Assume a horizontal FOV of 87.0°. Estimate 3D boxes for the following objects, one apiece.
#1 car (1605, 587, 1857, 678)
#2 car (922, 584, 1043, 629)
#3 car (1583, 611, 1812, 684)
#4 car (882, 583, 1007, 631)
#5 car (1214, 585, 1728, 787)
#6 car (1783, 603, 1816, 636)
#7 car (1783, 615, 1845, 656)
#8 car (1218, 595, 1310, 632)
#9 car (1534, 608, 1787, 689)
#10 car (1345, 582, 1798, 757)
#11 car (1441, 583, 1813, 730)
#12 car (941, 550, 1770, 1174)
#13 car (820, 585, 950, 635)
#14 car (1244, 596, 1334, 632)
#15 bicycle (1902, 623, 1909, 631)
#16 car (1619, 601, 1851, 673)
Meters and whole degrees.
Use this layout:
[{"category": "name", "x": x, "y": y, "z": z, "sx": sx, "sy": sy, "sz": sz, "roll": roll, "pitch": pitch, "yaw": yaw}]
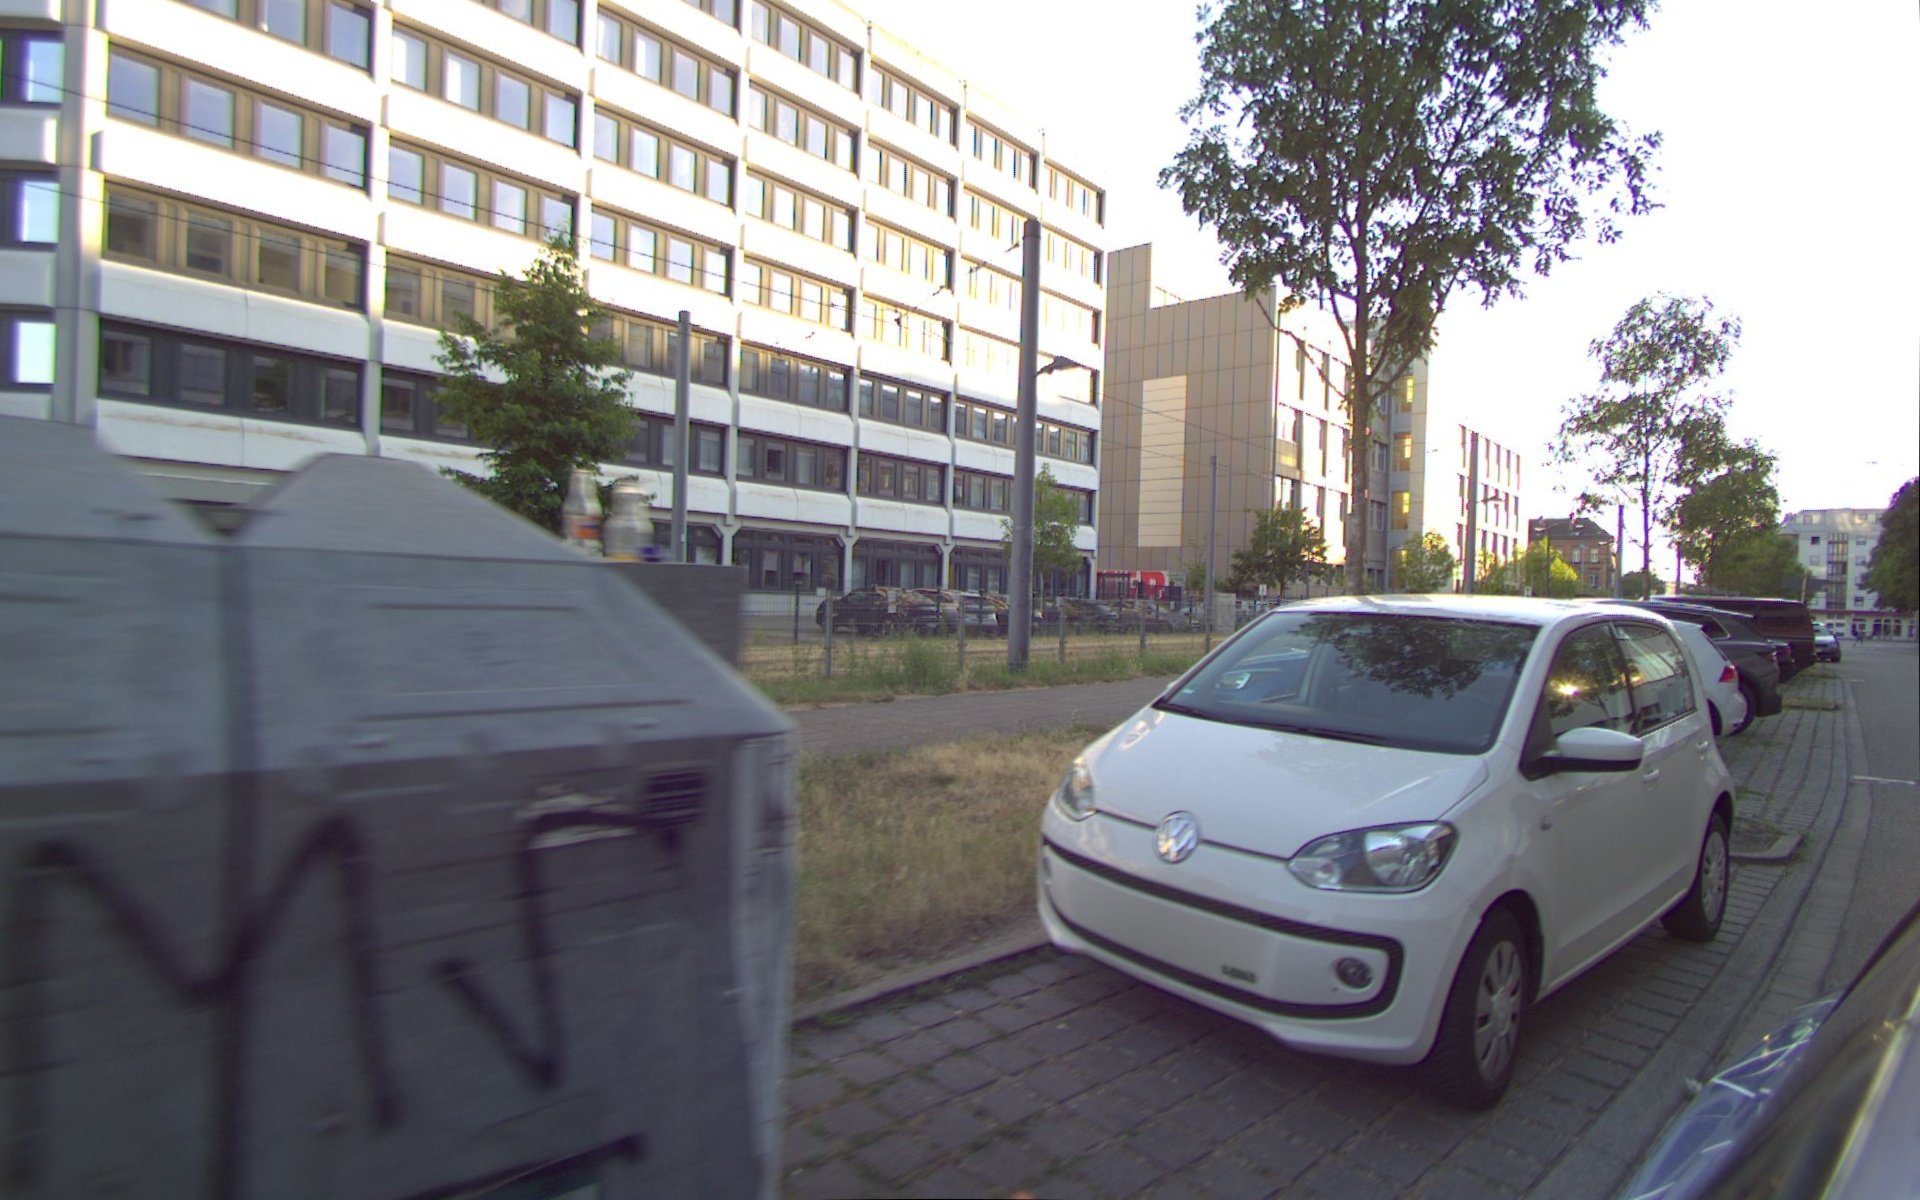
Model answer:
[{"category": "car", "x": 18.726, "y": 0.764, "z": 24.806, "sx": 4.527, "sy": 2.062, "sz": 1.866, "roll": 1, "pitch": -2, "yaw": 9}, {"category": "car", "x": 0.723, "y": 0.257, "z": 33.875, "sx": 3.982, "sy": 1.416, "sz": 1.568, "roll": -1, "pitch": -2, "yaw": 41}, {"category": "car", "x": 16.089, "y": 1.016, "z": 22.250, "sx": 3.714, "sy": 1.484, "sz": 1.635, "roll": 1, "pitch": -1, "yaw": 7}, {"category": "car", "x": -0.535, "y": 0.254, "z": 32.088, "sx": 3.982, "sy": 1.416, "sz": 1.568, "roll": -1, "pitch": -2, "yaw": 41}, {"category": "car", "x": 4.258, "y": 0.682, "z": 8.986, "sx": 3.691, "sy": 1.529, "sz": 1.683, "roll": 1, "pitch": -1, "yaw": 8}, {"category": "car", "x": 75.483, "y": 1.781, "z": 90.978, "sx": 2.050, "sy": 2.689, "sz": 5.354, "roll": 6, "pitch": 2, "yaw": 40}, {"category": "car", "x": 32.777, "y": 1.321, "z": 38.807, "sx": 1.730, "sy": 1.485, "sz": 3.939, "roll": -1, "pitch": -1, "yaw": 42}, {"category": "car", "x": 15.005, "y": 0.645, "z": 50.033, "sx": 3.988, "sy": 1.505, "sz": 1.649, "roll": 5, "pitch": 2, "yaw": 43}, {"category": "car", "x": 13.804, "y": 0.928, "z": 20.145, "sx": 3.714, "sy": 1.461, "sz": 1.760, "roll": 1, "pitch": -1, "yaw": 7}, {"category": "car", "x": 6.621, "y": 0.682, "z": 11.475, "sx": 3.873, "sy": 1.528, "sz": 1.949, "roll": 4, "pitch": 1, "yaw": 13}, {"category": "car", "x": 8.687, "y": 0.707, "z": 13.522, "sx": 3.717, "sy": 1.748, "sz": 1.758, "roll": 1, "pitch": -2, "yaw": 10}, {"category": "car", "x": 1.835, "y": 0.640, "z": 4.206, "sx": 3.489, "sy": 1.486, "sz": 1.726, "roll": 2, "pitch": 0, "yaw": -40}, {"category": "car", "x": -2.300, "y": 0.321, "z": 30.435, "sx": 3.982, "sy": 1.416, "sz": 1.568, "roll": -1, "pitch": -2, "yaw": 41}, {"category": "car", "x": 16.783, "y": 0.719, "z": 51.664, "sx": 3.988, "sy": 1.505, "sz": 1.649, "roll": 5, "pitch": 2, "yaw": 43}, {"category": "bicycle", "x": 124.014, "y": 3.564, "z": 132.724, "sx": 0.513, "sy": 1.059, "sz": 1.876, "roll": 2, "pitch": 0, "yaw": 39}, {"category": "car", "x": 20.541, "y": 0.964, "z": 27.027, "sx": 4.527, "sy": 1.771, "sz": 1.866, "roll": 1, "pitch": -1, "yaw": 9}]
